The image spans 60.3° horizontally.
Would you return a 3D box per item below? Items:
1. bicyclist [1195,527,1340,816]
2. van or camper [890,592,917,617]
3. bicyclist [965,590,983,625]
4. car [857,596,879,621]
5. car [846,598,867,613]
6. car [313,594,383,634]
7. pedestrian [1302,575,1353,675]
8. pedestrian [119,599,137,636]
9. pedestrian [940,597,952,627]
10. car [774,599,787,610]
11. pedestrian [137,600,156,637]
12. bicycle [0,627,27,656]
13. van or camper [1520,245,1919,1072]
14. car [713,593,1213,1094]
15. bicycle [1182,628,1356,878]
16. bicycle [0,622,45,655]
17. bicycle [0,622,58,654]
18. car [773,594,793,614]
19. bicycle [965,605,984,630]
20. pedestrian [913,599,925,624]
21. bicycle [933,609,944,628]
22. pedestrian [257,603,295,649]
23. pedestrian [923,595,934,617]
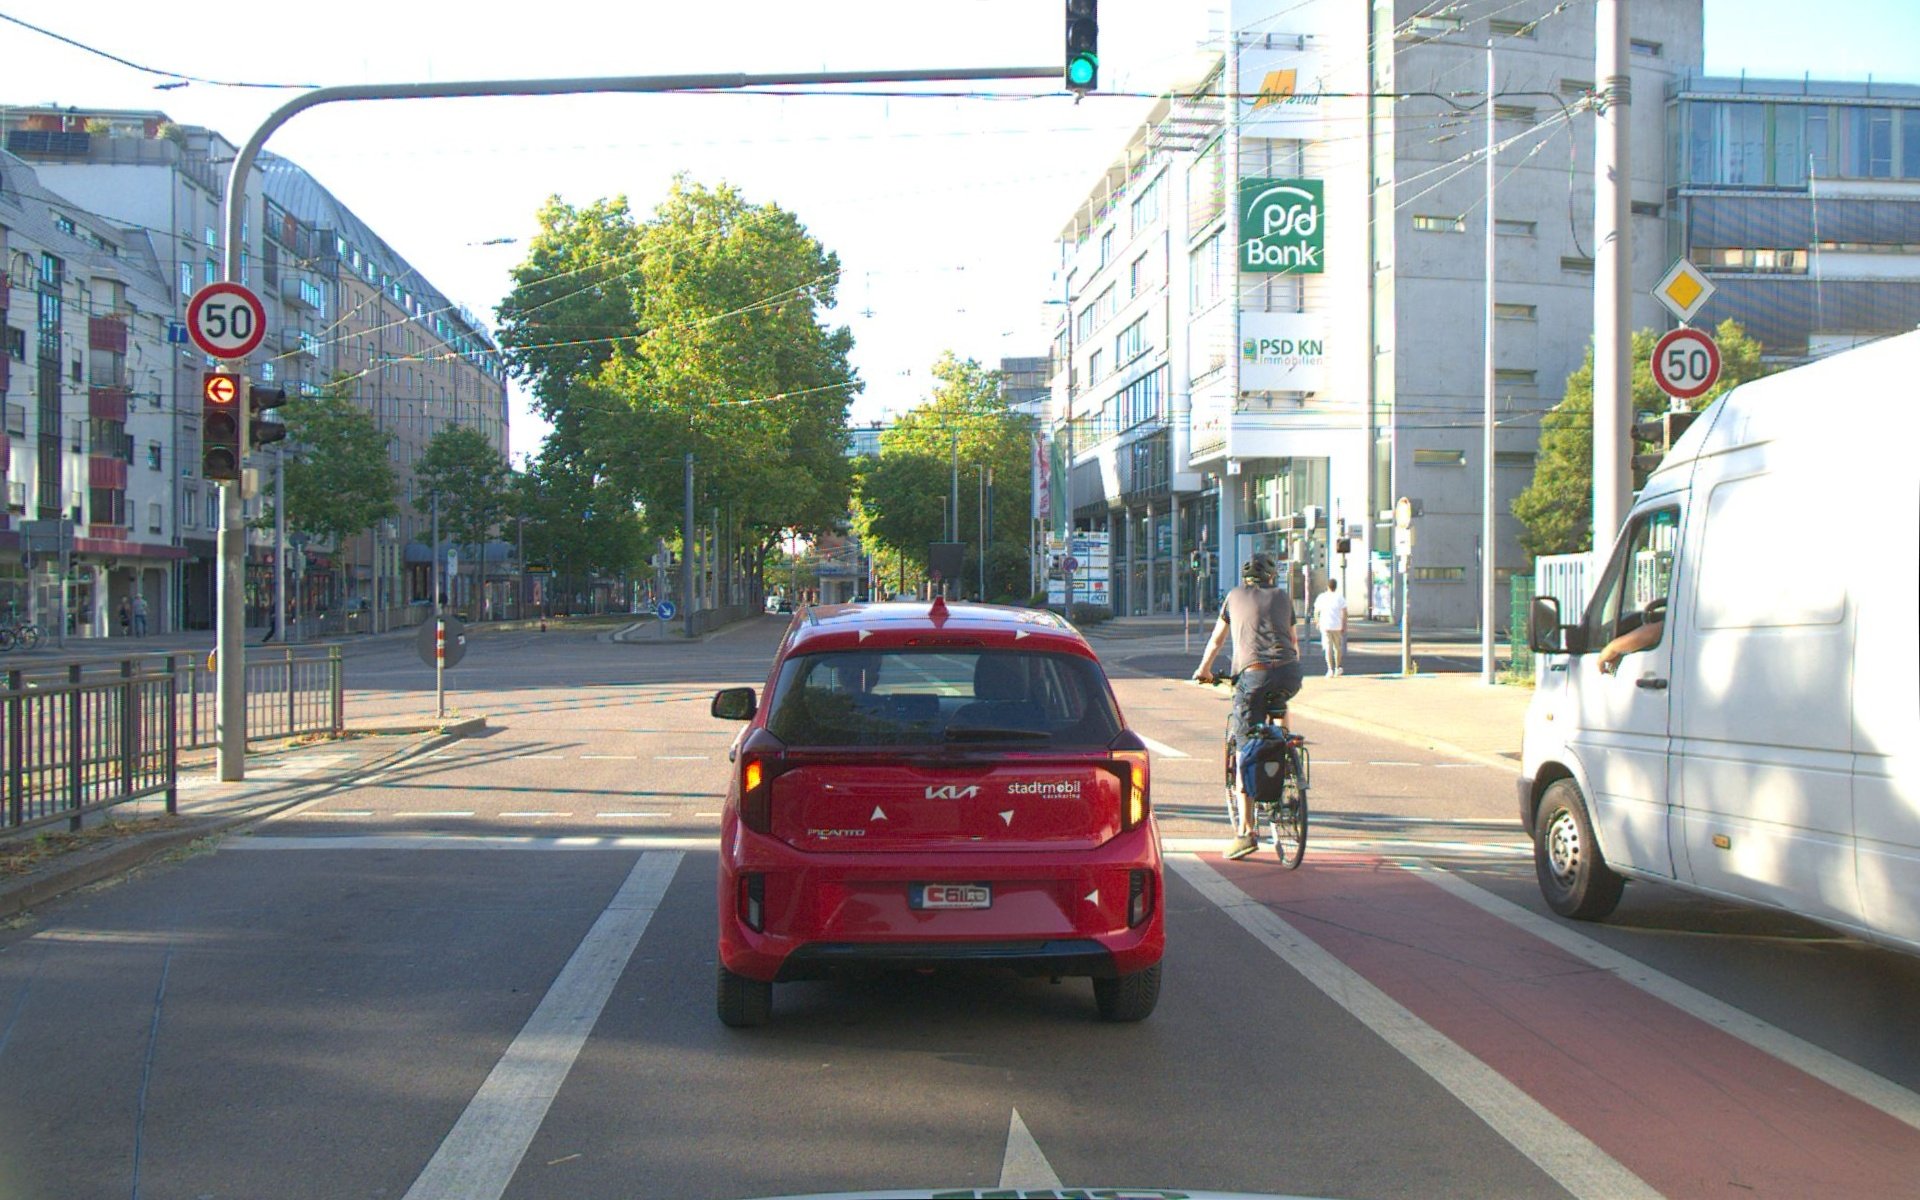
[{"bbox_3d":[1.821,0.403,9.922,0.637,1.631,1.088,0,0,-1],"label":"bicyclist"},{"bbox_3d":[-4.539,0.362,132.217,1.954,2.024,4.740,0,0,-4],"label":"van or camper"},{"bbox_3d":[0.657,0.366,78.985,0.708,1.631,1.087,-3,0,-6],"label":"bicyclist"},{"bbox_3d":[-6.880,0.636,123.606,1.603,1.831,3.327,-1,0,-3],"label":"car"},{"bbox_3d":[-10.965,0.618,175.109,1.745,1.561,3.504,0,0,-10],"label":"car"},{"bbox_3d":[-27.444,0.611,74.269,1.917,1.702,4.255,0,0,-6],"label":"car"},{"bbox_3d":[6.995,0.470,31.537,0.761,1.855,1.216,0,0,3],"label":"pedestrian"},{"bbox_3d":[-34.434,0.734,68.455,0.524,1.520,0.586,0,0,-9],"label":"pedestrian"},{"bbox_3d":[-0.772,0.673,92.506,0.633,1.710,0.651,0,0,-1],"label":"pedestrian"},{"bbox_3d":[-27.772,0.667,255.401,1.745,1.561,3.403,0,0,-10],"label":"car"},{"bbox_3d":[-33.755,0.746,68.617,0.524,1.520,0.586,0,0,-9],"label":"pedestrian"},{"bbox_3d":[-29.451,1.254,50.282,1.806,0.869,0.553,0,0,-4],"label":"bicycle"},{"bbox_3d":[4.163,0.201,5.747,1.930,2.763,6.300,1,0,-4],"label":"van or camper"},{"bbox_3d":[-0.132,0.758,6.939,1.582,1.561,3.408,0,0,-5],"label":"car"},{"bbox_3d":[1.804,0.843,9.931,0.637,1.303,1.965,0,0,-1],"label":"bicycle"},{"bbox_3d":[-29.601,1.214,51.546,1.808,1.002,0.552,0,0,-8],"label":"bicycle"},{"bbox_3d":[-29.544,1.199,52.162,1.808,1.002,0.552,0,0,-8],"label":"bicycle"},{"bbox_3d":[-18.833,0.440,175.705,1.956,2.049,3.992,0,0,-8],"label":"car"},{"bbox_3d":[0.674,0.841,79.035,0.683,1.117,1.749,-4,1,-5],"label":"bicycle"},{"bbox_3d":[-2.724,0.731,109.826,0.630,1.607,0.722,-4,0,-8],"label":"pedestrian"},{"bbox_3d":[-1.206,1.036,92.500,0.510,0.991,2.201,-4,1,-2],"label":"bicycle"},{"bbox_3d":[-23.732,0.883,57.391,1.024,1.571,0.694,-1,0,1],"label":"pedestrian"},{"bbox_3d":[-2.525,0.462,134.303,0.873,1.783,0.841,0,0,-1],"label":"pedestrian"}]
